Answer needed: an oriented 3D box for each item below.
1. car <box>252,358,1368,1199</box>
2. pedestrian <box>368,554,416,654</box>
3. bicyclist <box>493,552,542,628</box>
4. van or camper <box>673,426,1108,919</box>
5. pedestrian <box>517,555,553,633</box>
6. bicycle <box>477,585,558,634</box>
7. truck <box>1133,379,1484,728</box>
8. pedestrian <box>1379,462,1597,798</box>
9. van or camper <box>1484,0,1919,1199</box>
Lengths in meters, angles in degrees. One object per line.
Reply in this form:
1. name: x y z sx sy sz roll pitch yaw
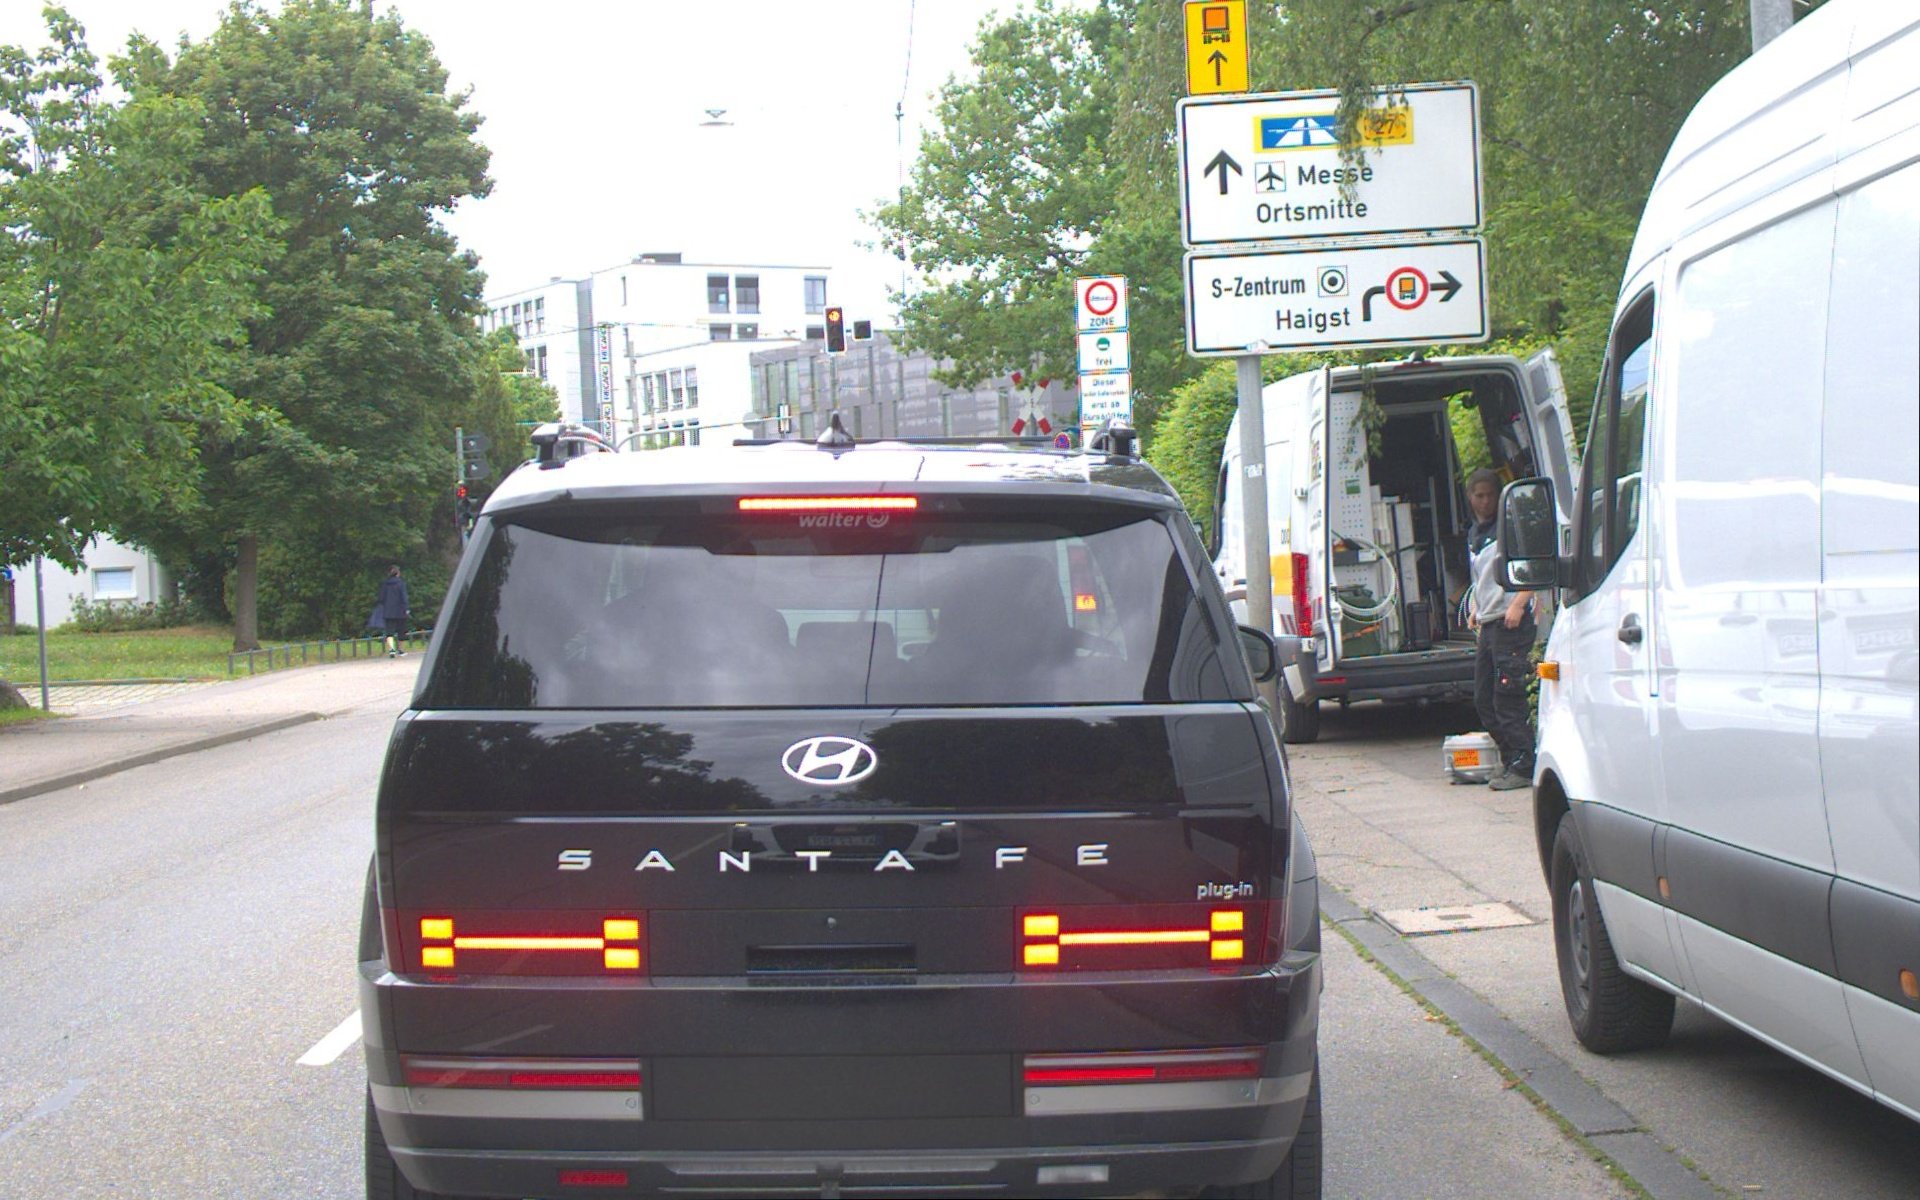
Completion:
1. car: -0.275 0.468 7.846 1.889 1.813 4.000 0 1 -1
2. pedestrian: -9.832 0.065 59.527 0.738 1.709 0.793 -2 1 -7
3. bicyclist: -10.046 -0.228 78.060 0.829 1.685 0.717 1 0 32
4. van or camper: -0.312 0.272 16.366 1.754 2.007 4.000 -2 1 -1
5. pedestrian: -9.451 -0.140 76.476 0.738 1.709 0.793 -2 1 -7
6. bicycle: -10.048 0.210 78.046 1.773 1.089 0.697 1 0 32
7. truck: 2.794 -0.373 28.817 1.942 2.553 5.217 -3 1 -4
8. pedestrian: 2.909 0.152 18.931 0.870 1.791 0.759 -2 1 -43
9. van or camper: 2.639 -0.048 7.011 1.993 2.611 6.541 -2 1 -1
